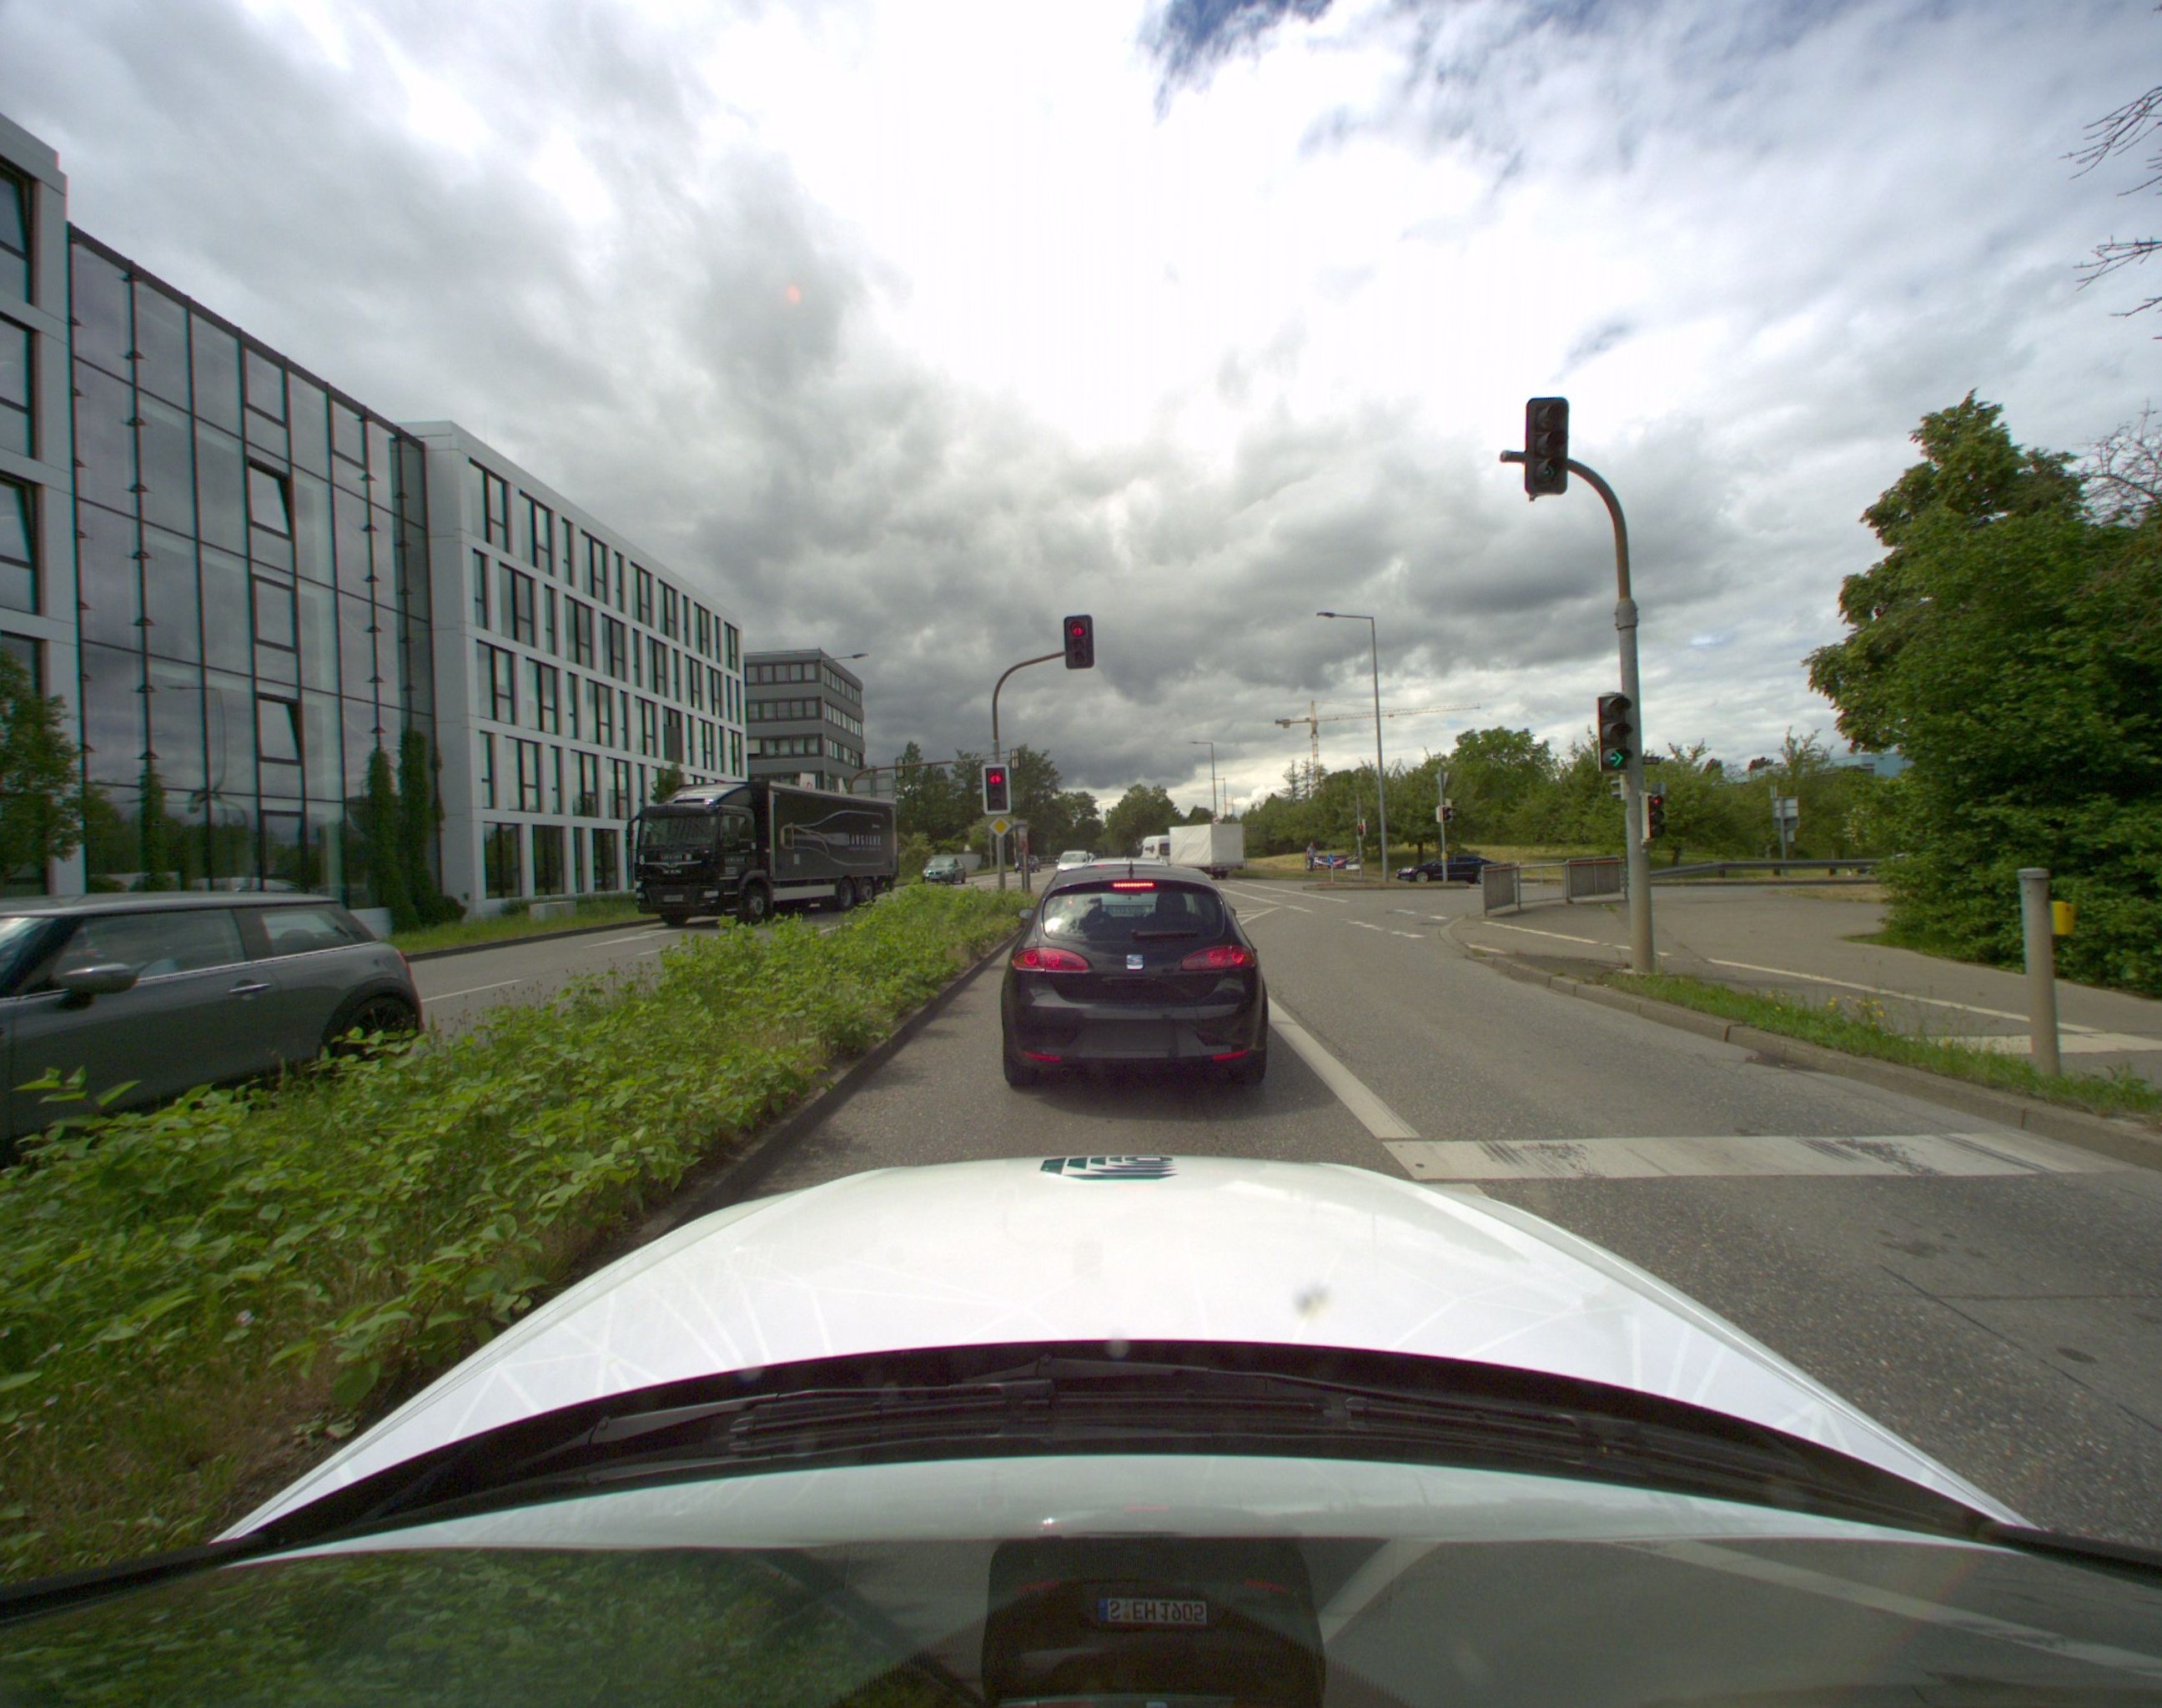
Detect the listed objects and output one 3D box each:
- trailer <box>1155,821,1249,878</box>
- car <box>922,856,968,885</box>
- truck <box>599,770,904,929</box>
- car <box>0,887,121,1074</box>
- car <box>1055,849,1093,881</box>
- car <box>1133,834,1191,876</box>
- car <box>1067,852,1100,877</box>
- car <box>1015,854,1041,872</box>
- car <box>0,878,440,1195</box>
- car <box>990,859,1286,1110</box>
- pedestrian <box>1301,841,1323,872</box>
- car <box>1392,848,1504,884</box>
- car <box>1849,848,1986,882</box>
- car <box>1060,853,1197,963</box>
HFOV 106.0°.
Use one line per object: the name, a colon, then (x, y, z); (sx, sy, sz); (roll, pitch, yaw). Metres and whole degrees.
trailer: (6.858, -0.198, 46.894); (2.506, 3.073, 5.534); (0, -1, -29)
car: (-7.273, 0.851, 43.793); (1.598, 1.432, 3.757); (-1, 0, 4)
truck: (-8.505, -0.129, 23.011); (3.146, 3.518, 9.558); (0, 0, 12)
car: (-9.088, 1.015, 5.079); (1.547, 1.383, 3.783); (-2, 0, 4)
car: (-0.354, 0.597, 46.381); (1.812, 1.686, 4.650); (0, 0, 4)
car: (5.127, 0.096, 52.324); (2.127, 2.518, 5.812); (0, -1, -11)
car: (0.195, 0.645, 52.450); (1.652, 1.518, 4.091); (-1, 0, 6)
car: (-4.398, 0.760, 68.514); (1.546, 1.419, 3.902); (-1, 0, 5)
car: (-5.943, 0.927, 4.576); (1.683, 1.430, 3.637); (-2, 0, 2)
car: (0.391, 0.772, 6.482); (1.704, 1.417, 3.461); (-1, 0, 2)
pedestrian: (13.669, 0.167, 48.219); (0.721, 1.793, 1.035); (0, -1, -25)
car: (17.347, 0.548, 38.680); (4.431, 1.565, 2.004); (-1, 0, 7)
car: (36.611, 0.483, 35.755); (3.853, 1.446, 1.766); (-1, -1, 12)
car: (0.740, 0.747, 12.818); (1.827, 1.467, 3.754); (0, 0, 3)
